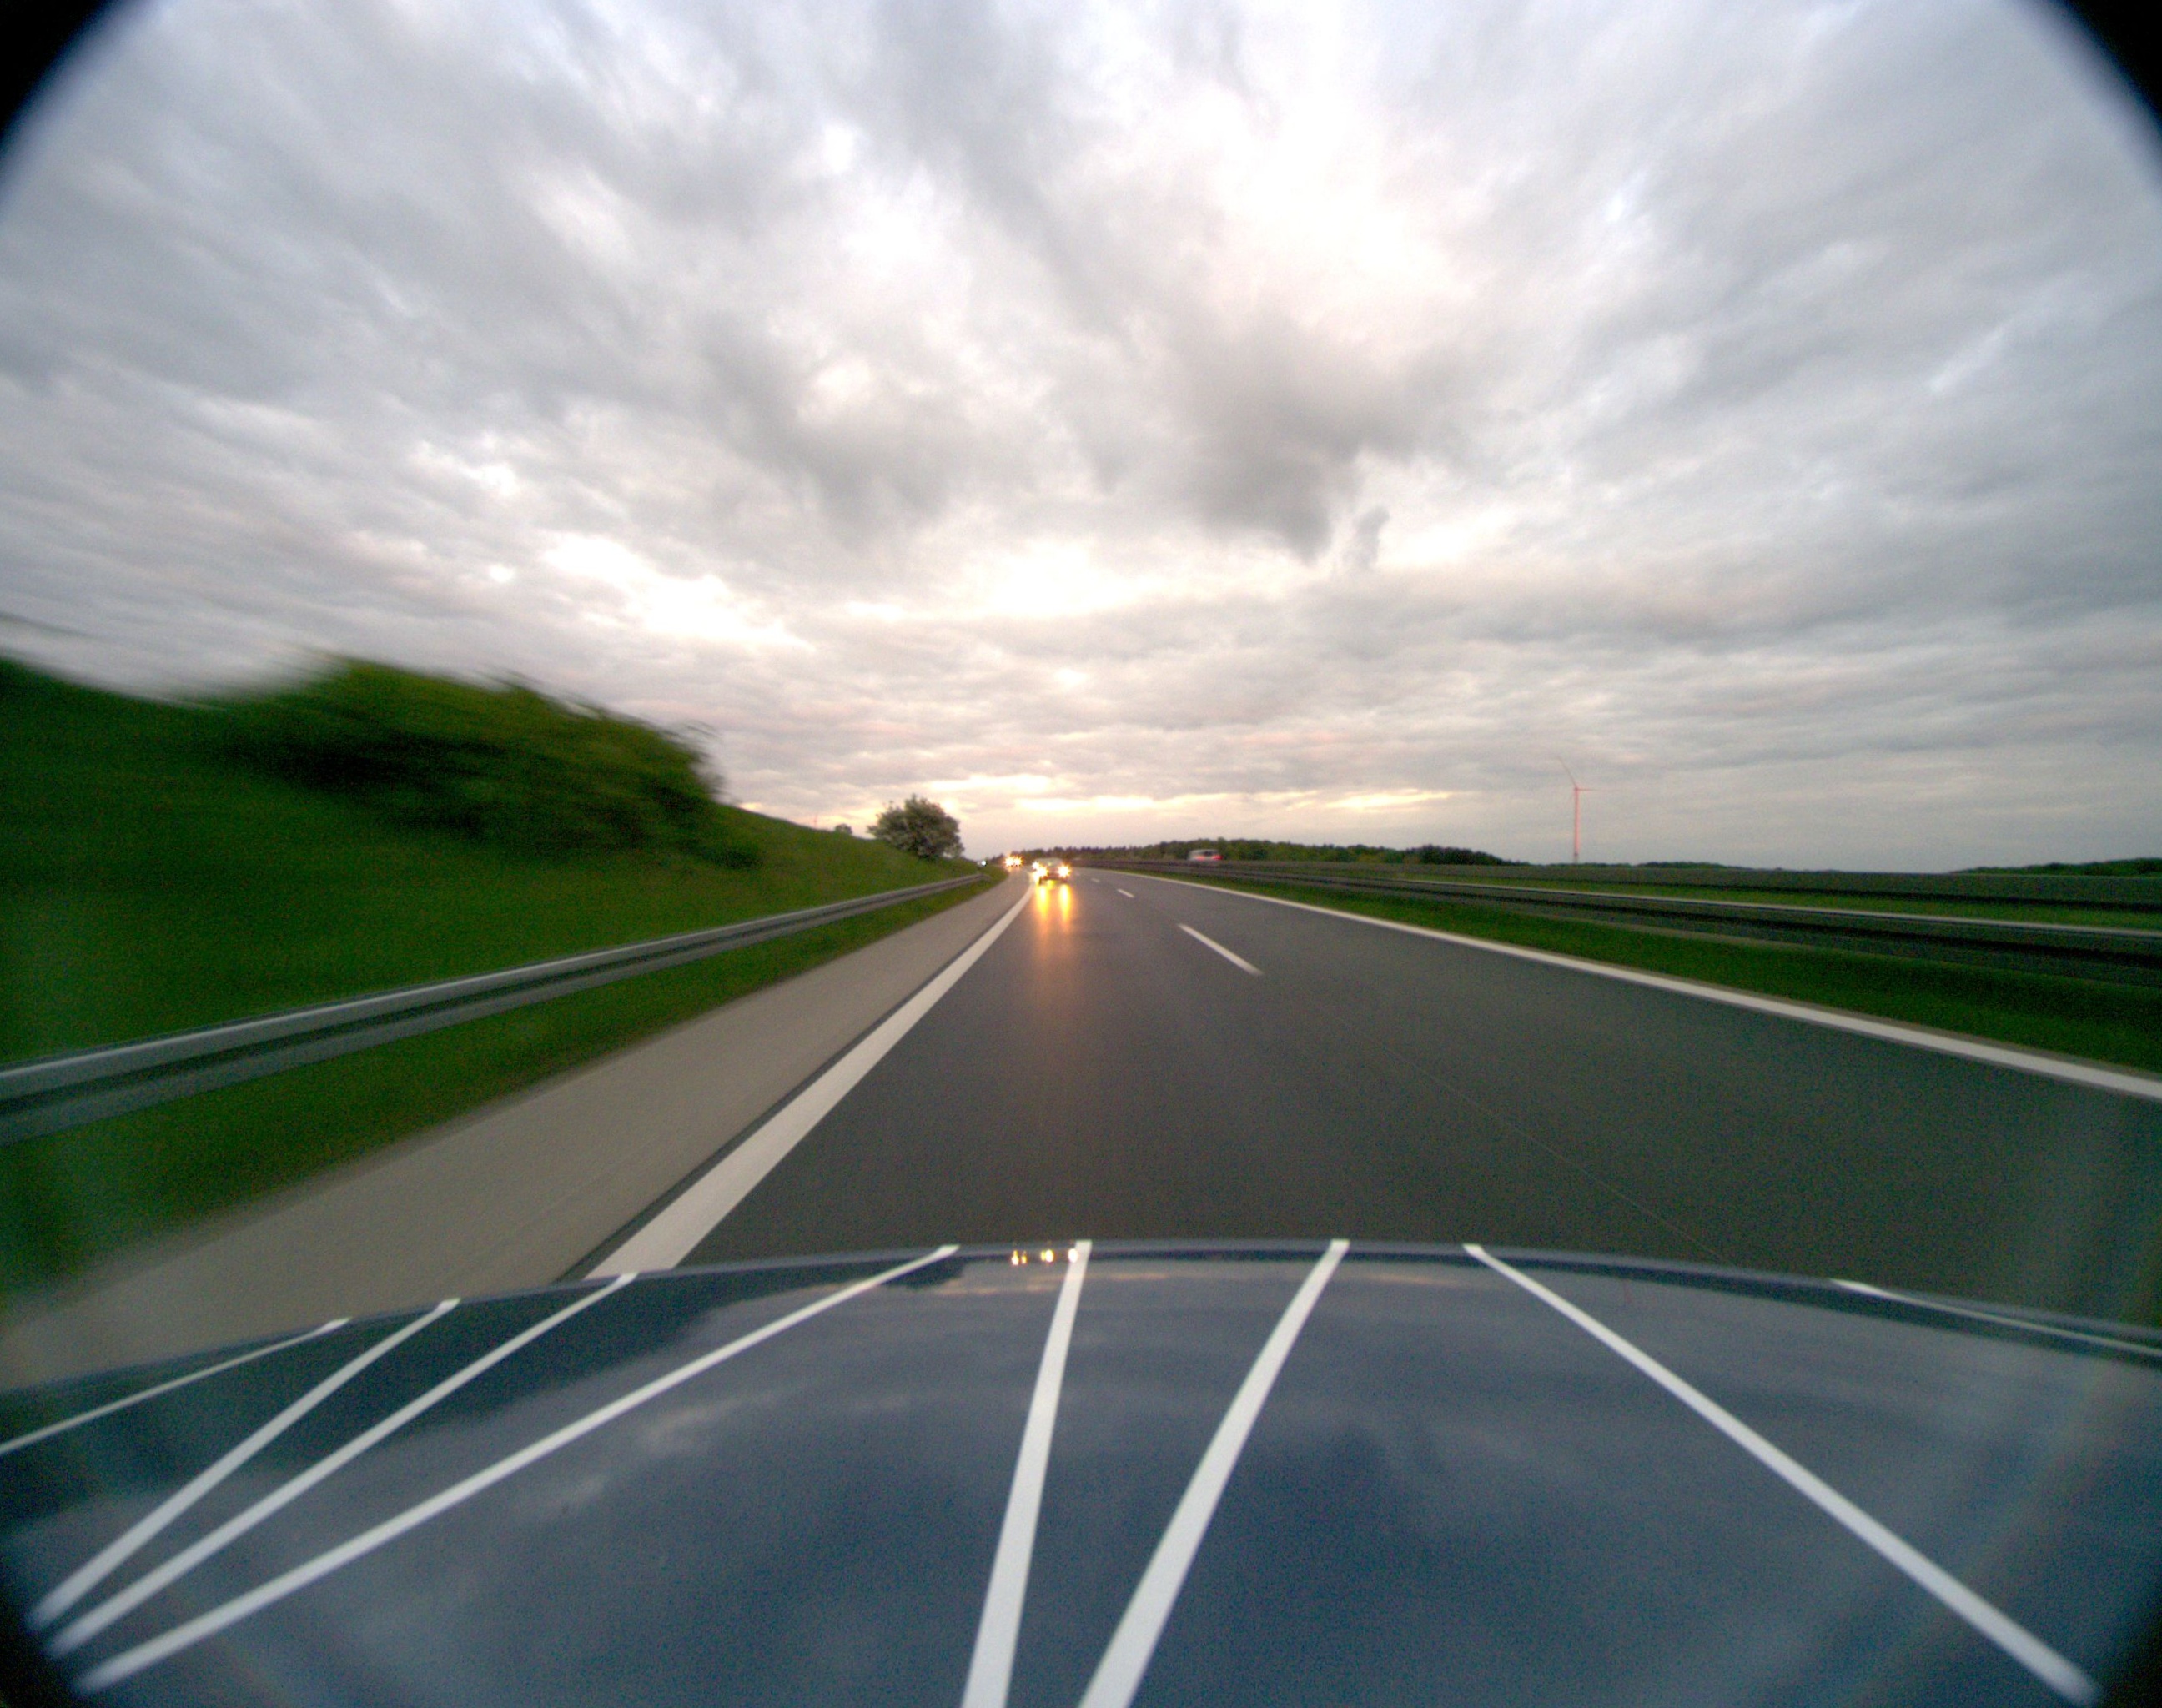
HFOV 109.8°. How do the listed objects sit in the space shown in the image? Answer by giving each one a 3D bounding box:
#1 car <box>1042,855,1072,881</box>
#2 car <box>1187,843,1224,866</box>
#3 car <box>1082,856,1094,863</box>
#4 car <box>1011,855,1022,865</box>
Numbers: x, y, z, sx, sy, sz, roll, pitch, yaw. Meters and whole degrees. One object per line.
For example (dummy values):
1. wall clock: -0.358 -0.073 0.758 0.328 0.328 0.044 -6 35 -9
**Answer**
1. car: -1.500 0.835 46.441 1.682 1.504 3.999 -1 0 -3
2. car: 12.346 0.043 75.827 2.288 2.002 5.255 5 0 -5
3. car: 1.349 1.104 146.112 1.644 1.280 3.947 2 -1 -9
4. car: -12.312 1.150 144.049 1.921 1.827 3.998 0 0 -7
